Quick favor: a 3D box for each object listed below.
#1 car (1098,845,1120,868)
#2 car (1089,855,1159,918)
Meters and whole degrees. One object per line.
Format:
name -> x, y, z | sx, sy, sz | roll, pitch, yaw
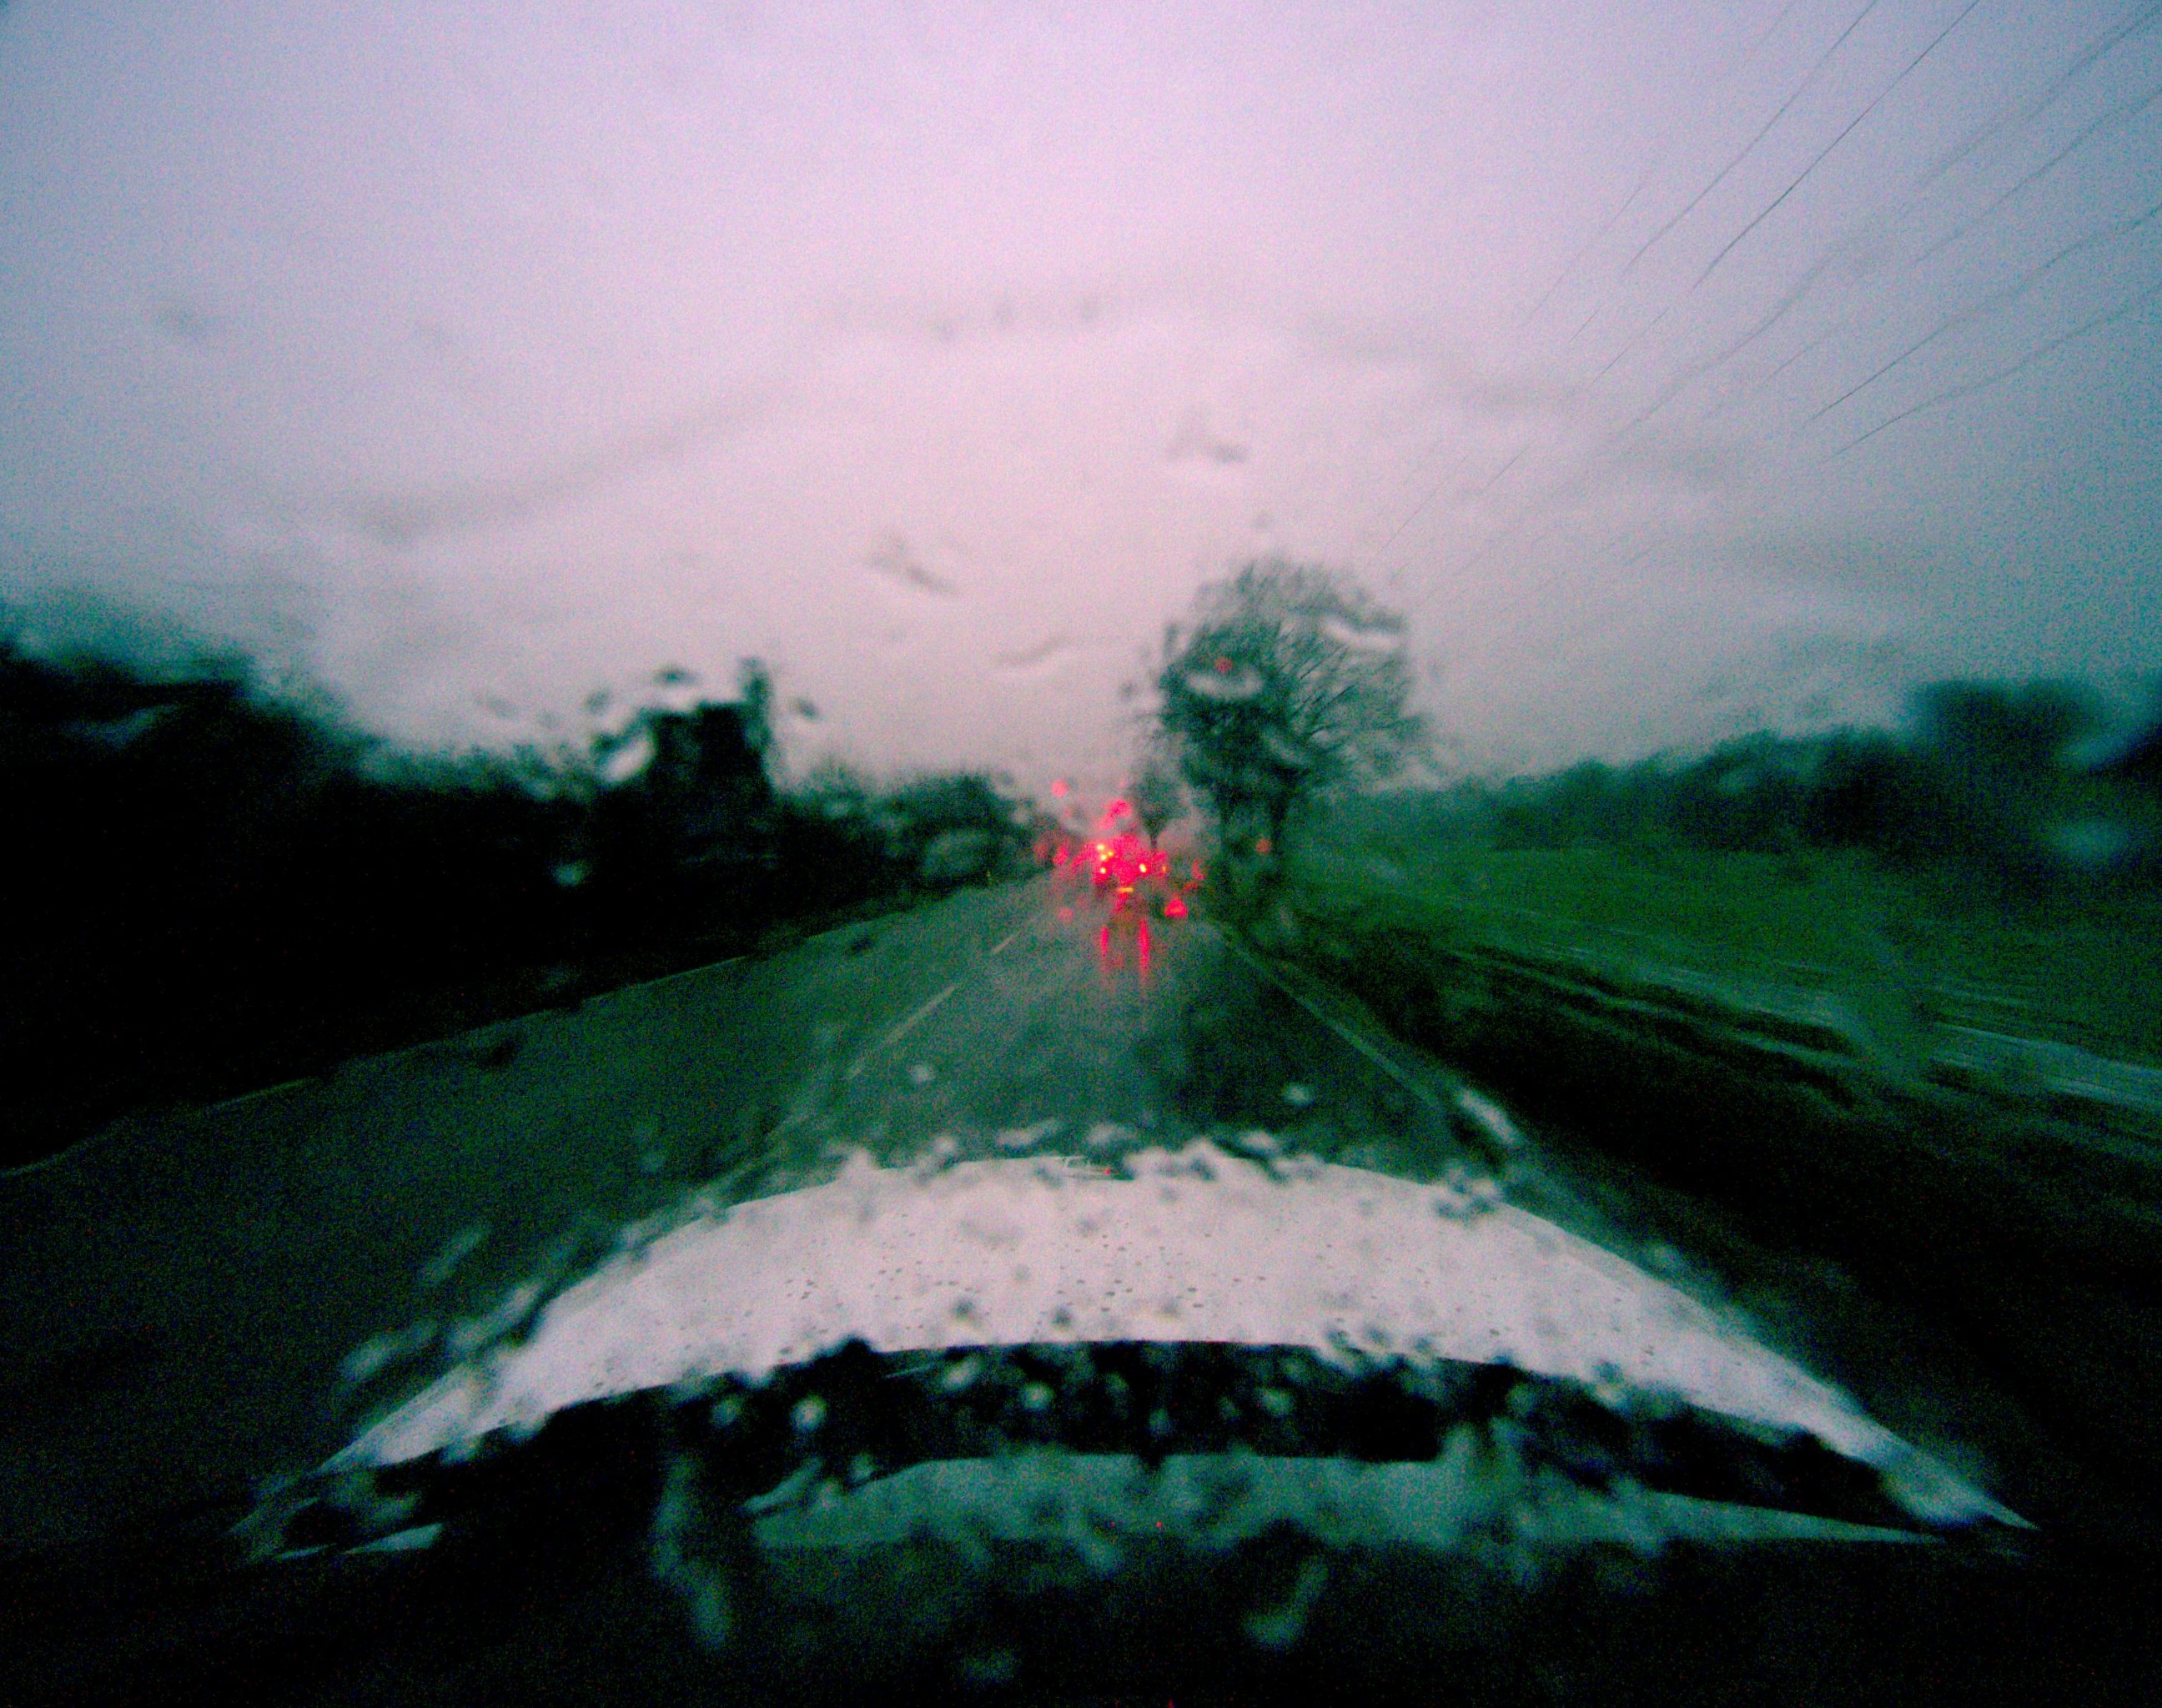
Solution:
car -> 2.853, 0.225, 82.885 | 1.984, 2.012, 4.007 | 2, 4, 4
car -> 1.340, 0.958, 25.879 | 1.986, 1.752, 4.002 | -1, 0, 2
